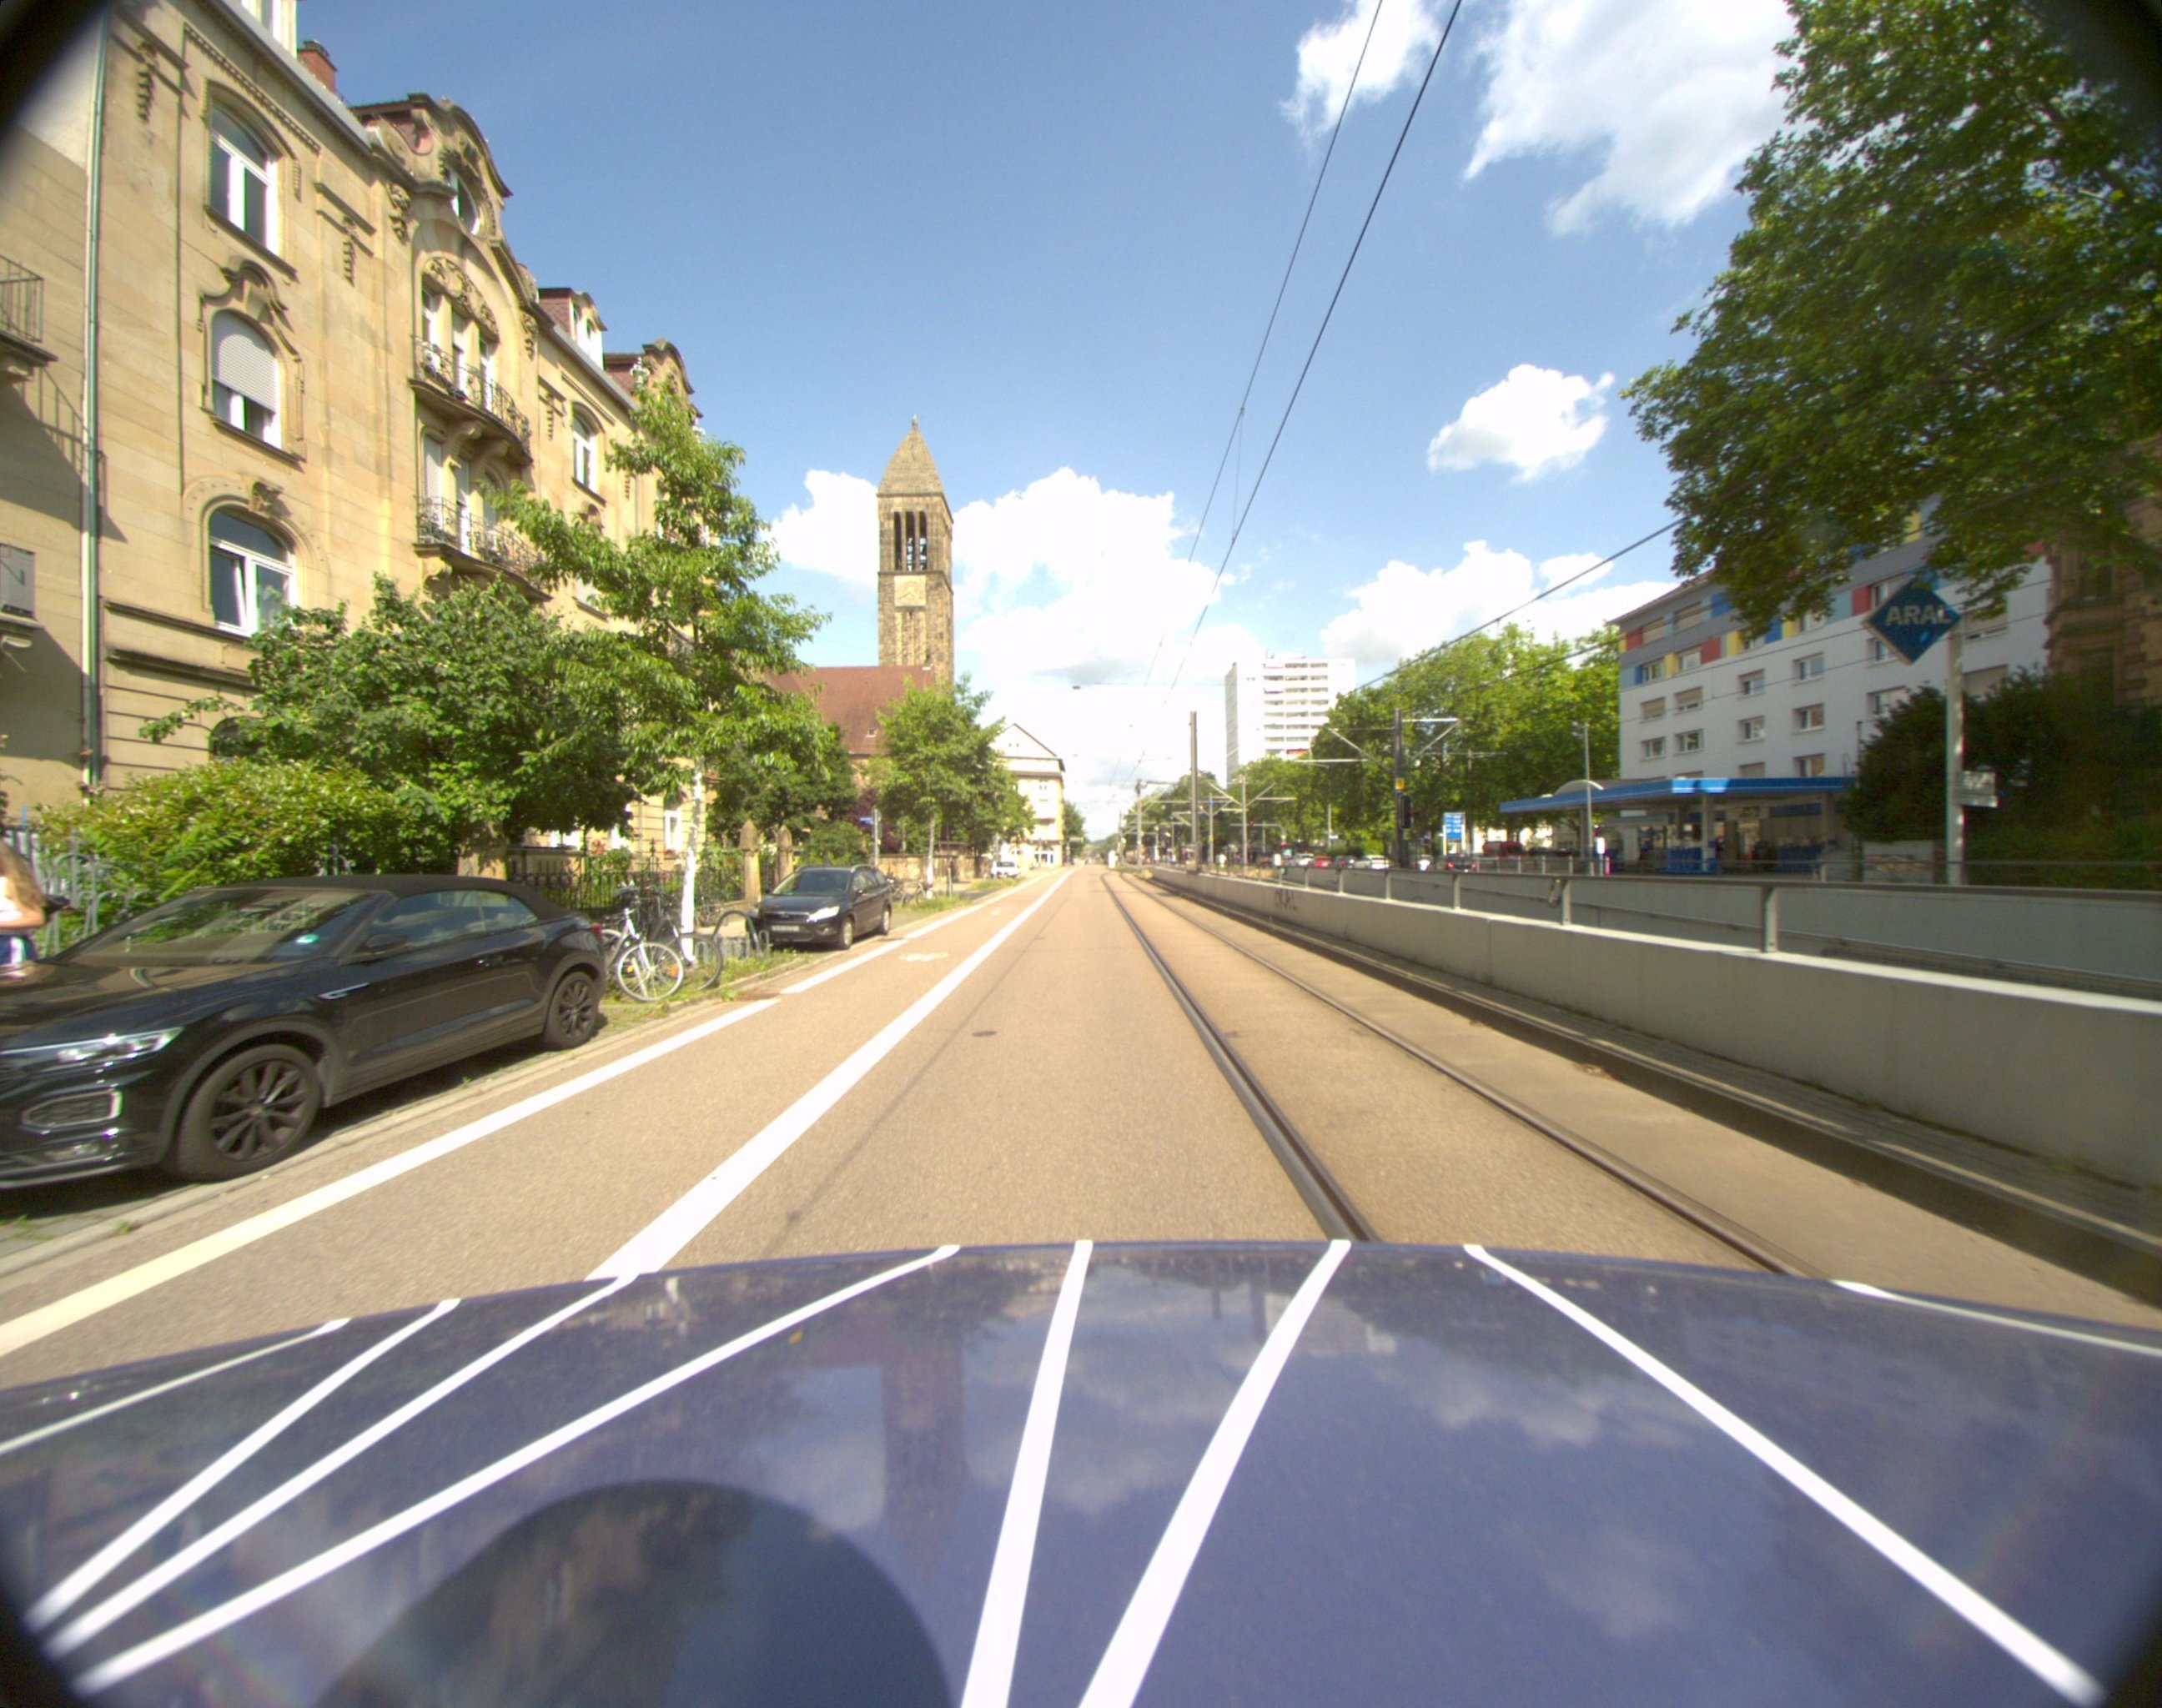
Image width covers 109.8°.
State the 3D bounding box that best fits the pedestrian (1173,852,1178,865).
[{"bbox_3d":[12.564,0.600,101.074,0.528,1.722,0.557,1,0,-4],"label":"pedestrian"}]

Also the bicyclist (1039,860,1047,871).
[{"bbox_3d":[-5.443,1.636,109.408,0.923,1.494,0.651,-1,-3,-29],"label":"bicyclist"}]

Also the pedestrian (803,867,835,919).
[{"bbox_3d":[-8.405,1.253,24.403,0.725,1.619,0.725,-1,1,1],"label":"pedestrian"}]

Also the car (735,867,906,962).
[{"bbox_3d":[-4.941,1.058,15.198,1.690,1.493,4.708,-1,0,1],"label":"car"}]

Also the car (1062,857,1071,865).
[{"bbox_3d":[-3.256,1.524,166.863,1.851,1.779,4.000,2,0,0],"label":"car"}]

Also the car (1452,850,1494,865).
[{"bbox_3d":[35.763,0.318,69.366,1.757,1.402,4.000,0,0,0],"label":"car"}]

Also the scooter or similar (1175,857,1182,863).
[{"bbox_3d":[13.001,0.812,101.106,0.840,0.799,0.553,-1,0,-4],"label":"scooter or similar"}]

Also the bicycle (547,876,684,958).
[{"bbox_3d":[-8.435,1.076,13.983,0.659,1.241,2.943,2,0,1],"label":"bicycle"}]

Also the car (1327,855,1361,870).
[{"bbox_3d":[21.606,0.679,62.506,1.620,1.182,3.634,-1,0,2],"label":"car"}]

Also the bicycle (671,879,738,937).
[{"bbox_3d":[-8.304,1.153,16.839,0.428,1.133,2.023,2,0,1],"label":"bicycle"}]

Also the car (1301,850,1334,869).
[{"bbox_3d":[21.488,0.497,69.245,1.717,1.597,4.145,-1,-2,0],"label":"car"}]

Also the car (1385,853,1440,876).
[{"bbox_3d":[21.316,0.658,49.003,1.726,1.408,4.406,0,0,2],"label":"car"}]

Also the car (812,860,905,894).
[{"bbox_3d":[-11.453,1.166,39.310,4.263,1.547,1.756,-1,3,-1],"label":"car"}]

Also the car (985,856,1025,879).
[{"bbox_3d":[-5.107,0.874,51.448,1.671,1.408,3.847,-3,-1,9],"label":"car"}]

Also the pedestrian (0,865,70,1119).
[{"bbox_3d":[-7.418,0.911,5.084,0.530,1.666,0.573,1,0,-18],"label":"pedestrian"}]

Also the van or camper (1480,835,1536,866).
[{"bbox_3d":[38.602,-0.296,68.838,2.107,2.626,5.350,2,0,2],"label":"van or camper"}]

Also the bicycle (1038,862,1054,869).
[{"bbox_3d":[-5.023,1.667,108.896,2.135,0.983,0.651,-1,0,-15],"label":"bicycle"}]

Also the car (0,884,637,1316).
[{"bbox_3d":[-5.163,1.055,5.181,1.803,1.517,4.488,1,0,-3],"label":"car"}]

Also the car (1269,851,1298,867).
[{"bbox_3d":[22.232,0.532,83.696,1.871,1.642,5.154,1,0,1],"label":"car"}]

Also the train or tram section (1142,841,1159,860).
[{"bbox_3d":[13.997,-0.671,153.032,2.802,3.540,11.379,-1,0,3],"label":"train or tram section"}]

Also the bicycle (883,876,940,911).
[{"bbox_3d":[-5.409,1.248,24.292,1.711,1.063,0.471,-1,1,-5],"label":"bicycle"}]

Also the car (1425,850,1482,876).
[{"bbox_3d":[20.833,0.497,42.645,1.672,1.408,3.784,-1,0,6],"label":"car"}]

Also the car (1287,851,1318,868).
[{"bbox_3d":[22.146,0.490,76.124,1.764,1.597,4.678,-1,1,0],"label":"car"}]

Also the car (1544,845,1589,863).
[{"bbox_3d":[44.128,0.000,69.142,1.530,1.594,4.000,0,0,0],"label":"car"}]

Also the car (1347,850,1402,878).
[{"bbox_3d":[21.541,0.756,55.982,1.952,1.596,5.079,-9,-3,1],"label":"car"}]

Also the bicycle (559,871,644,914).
[{"bbox_3d":[-12.815,1.017,20.341,1.894,1.063,0.471,2,0,-5],"label":"bicycle"}]

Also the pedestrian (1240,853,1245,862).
[{"bbox_3d":[29.566,0.657,139.181,0.671,1.693,0.648,-1,0,3],"label":"pedestrian"}]

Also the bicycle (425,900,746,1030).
[{"bbox_3d":[-5.529,1.213,8.706,2.957,1.239,0.792,-1,0,-12],"label":"bicycle"}]

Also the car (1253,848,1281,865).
[{"bbox_3d":[22.211,0.326,90.785,2.080,1.974,5.337,-1,-2,0],"label":"car"}]
